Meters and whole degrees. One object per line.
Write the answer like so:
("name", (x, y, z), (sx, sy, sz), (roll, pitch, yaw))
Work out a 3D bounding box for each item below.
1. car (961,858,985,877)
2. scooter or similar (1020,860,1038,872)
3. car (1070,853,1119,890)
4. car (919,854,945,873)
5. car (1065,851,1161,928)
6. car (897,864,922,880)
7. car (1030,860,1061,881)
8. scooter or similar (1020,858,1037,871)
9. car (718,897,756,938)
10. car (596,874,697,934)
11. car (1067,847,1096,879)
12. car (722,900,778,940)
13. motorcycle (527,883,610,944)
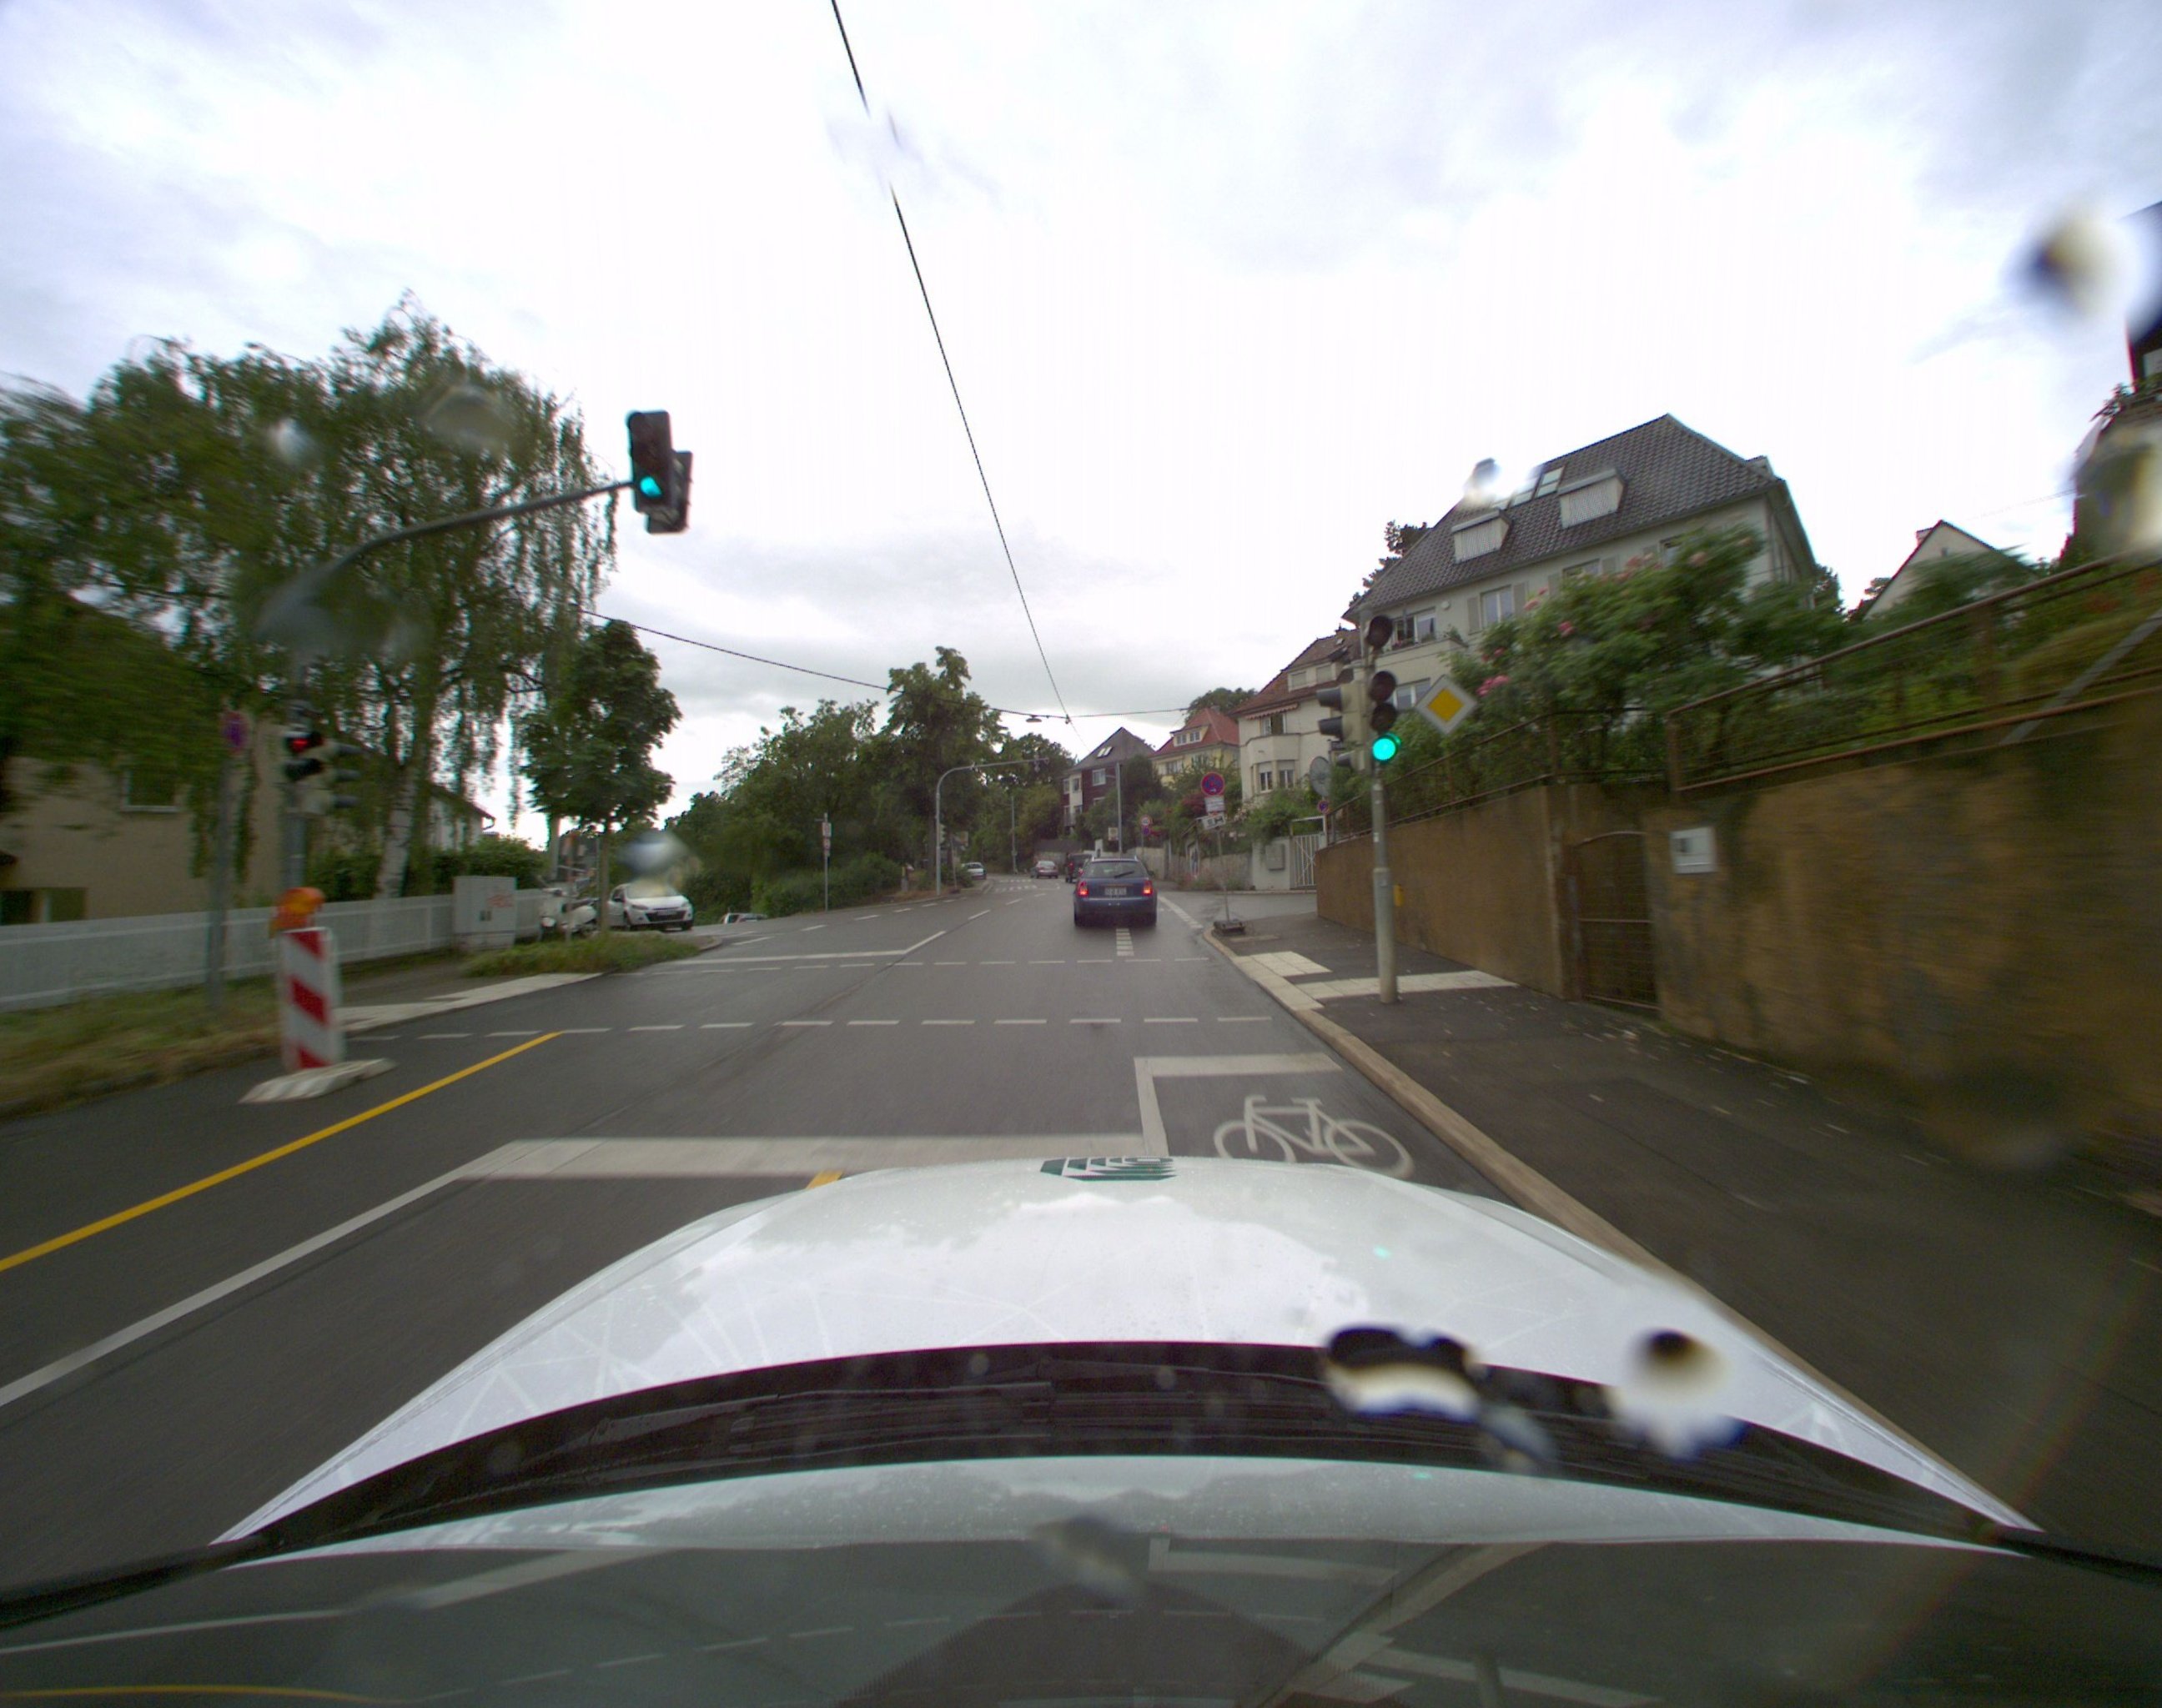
("car", (-8.916, 1.070, 66.968), (1.674, 1.426, 3.984), (-3, 0, -11))
("scooter or similar", (-5.901, 1.376, 92.475), (1.835, 1.315, 0.597), (3, -4, -11))
("car", (0.536, 0.677, 34.397), (1.903, 1.388, 4.350), (1, 1, 0))
("car", (-15.735, 1.031, 85.795), (1.845, 1.843, 3.872), (-3, 0, -23))
("car", (0.822, 0.702, 18.130), (1.768, 1.439, 4.008), (-2, 0, 7))
("car", (-20.245, 2.082, 96.071), (2.004, 1.728, 3.966), (-4, 0, -26))
("car", (-2.919, 1.338, 66.152), (1.767, 1.570, 4.014), (-3, 0, -12))
("scooter or similar", (-6.029, 1.190, 93.385), (1.835, 1.315, 0.597), (3, -4, -11))
("car", (-18.741, 3.408, 44.310), (1.756, 2.014, 3.967), (2, -2, -24))
("car", (-12.898, 1.511, 24.081), (1.699, 1.509, 3.963), (-4, -1, -41))
("car", (0.052, 0.544, 52.170), (1.725, 1.894, 4.055), (-3, 0, 0))
("car", (-16.241, 3.206, 39.868), (1.853, 1.750, 3.960), (3, -3, -31))
("motorcycle", (-10.883, 1.239, 17.373), (0.589, 1.131, 1.842), (-3, 0, -1))
